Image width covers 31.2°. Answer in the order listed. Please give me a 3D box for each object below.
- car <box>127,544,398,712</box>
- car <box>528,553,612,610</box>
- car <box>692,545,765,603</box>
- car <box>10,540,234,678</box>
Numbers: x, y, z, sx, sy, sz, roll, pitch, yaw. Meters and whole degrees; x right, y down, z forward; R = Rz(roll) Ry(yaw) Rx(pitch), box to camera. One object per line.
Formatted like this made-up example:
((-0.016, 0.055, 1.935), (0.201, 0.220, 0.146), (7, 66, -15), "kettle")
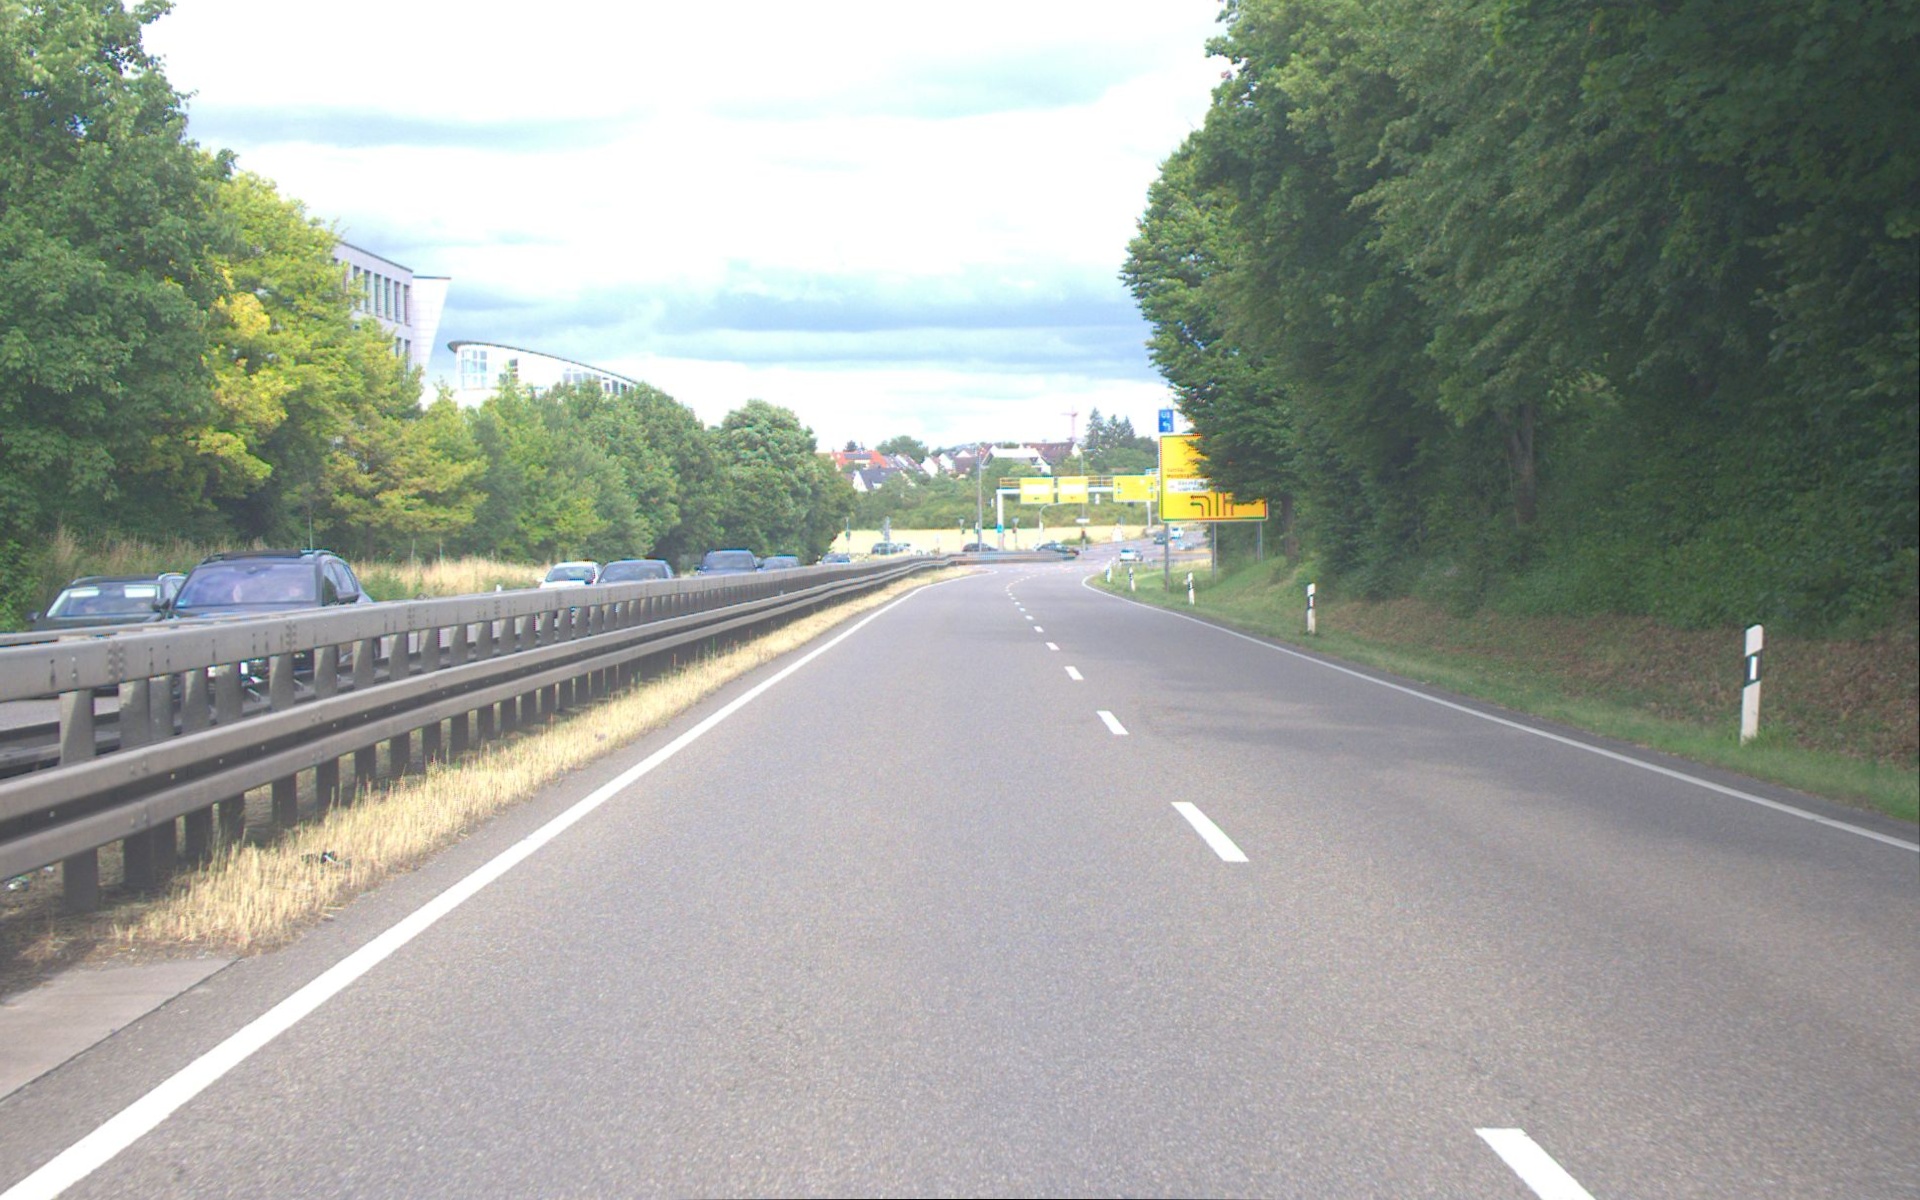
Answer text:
((-6.964, 0.231, 34.749), (1.821, 1.578, 4.316), (-1, 1, 0), "car")
((-10.694, -0.535, 94.589), (1.817, 1.480, 4.417), (1, 1, 0), "car")
((-6.818, -0.781, 101.682), (1.742, 1.639, 5.280), (-1, 1, 0), "car")
((-10.354, 0.078, 42.773), (1.742, 1.584, 4.312), (1, 1, -1), "car")
